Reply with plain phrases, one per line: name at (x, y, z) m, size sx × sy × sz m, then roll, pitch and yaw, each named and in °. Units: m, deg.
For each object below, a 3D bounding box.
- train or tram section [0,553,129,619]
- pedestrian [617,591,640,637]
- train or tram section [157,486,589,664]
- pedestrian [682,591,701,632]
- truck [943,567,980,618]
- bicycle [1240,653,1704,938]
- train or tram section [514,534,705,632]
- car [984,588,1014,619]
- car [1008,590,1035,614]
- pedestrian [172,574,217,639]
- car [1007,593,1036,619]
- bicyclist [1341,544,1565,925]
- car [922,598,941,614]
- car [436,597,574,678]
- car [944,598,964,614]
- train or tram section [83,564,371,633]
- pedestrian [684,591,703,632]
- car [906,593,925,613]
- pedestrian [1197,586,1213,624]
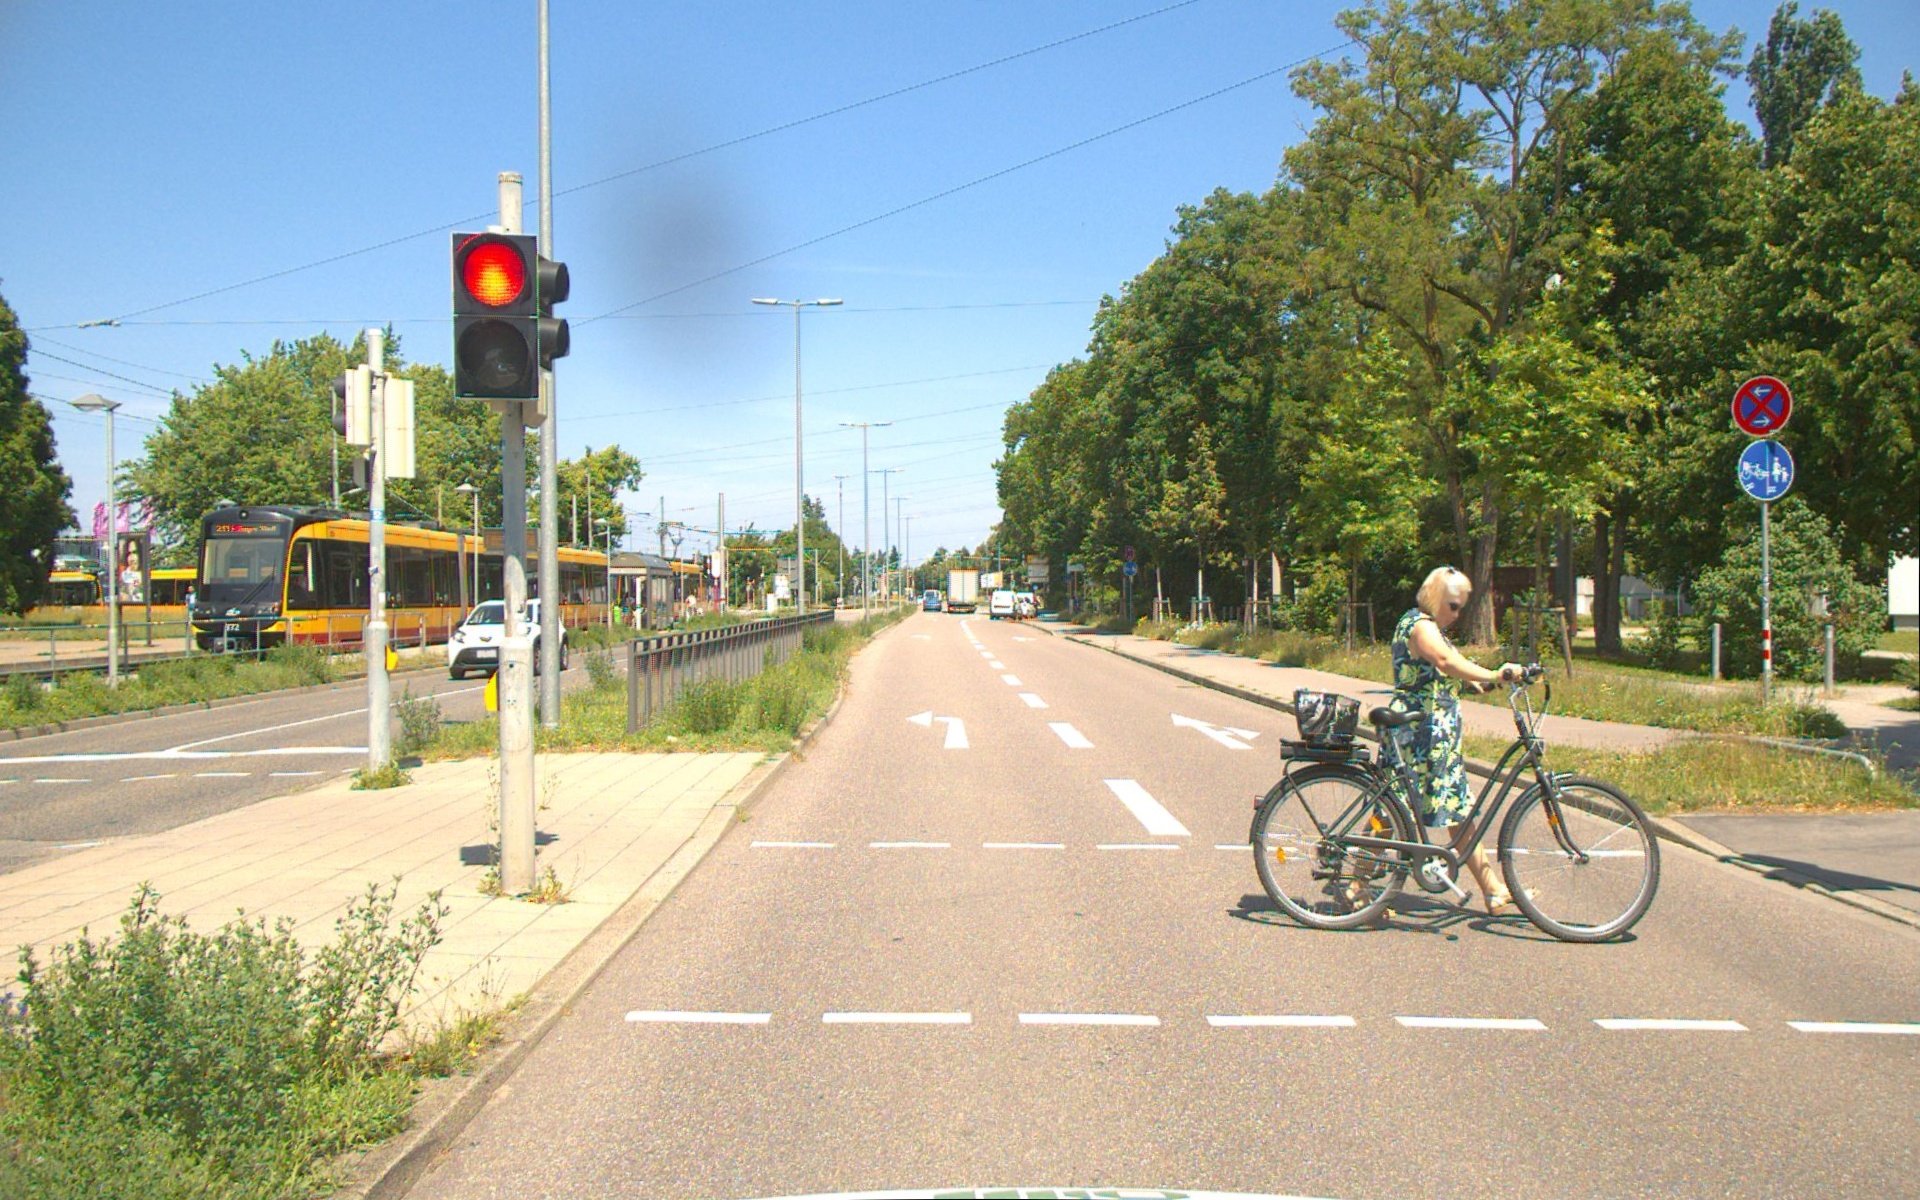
train or tram section at (-61.239, -0.818, 104.741) m, size 18.049 × 4.000 × 3.228 m, roll 0°, pitch 0°, yaw 16°
pedestrian at (-13.850, 0.590, 69.084) m, size 0.769 × 1.901 × 0.817 m, roll 0°, pitch 0°, yaw -1°
train or tram section at (-15.953, -0.596, 50.450) m, size 2.897 × 3.815 × 30.027 m, roll 0°, pitch 0°, yaw -1°
pedestrian at (-13.742, 0.587, 84.732) m, size 0.798 × 2.049 × 0.938 m, roll 0°, pitch 0°, yaw -1°
truck at (0.073, -0.651, 146.124) m, size 3.140 × 4.435 × 6.559 m, roll 0°, pitch 0°, yaw -1°
bicycle at (2.225, 0.834, 7.387) m, size 1.915 × 1.182 × 0.541 m, roll 0°, pitch -1°, yaw 10°
train or tram section at (-16.410, -0.742, 81.971) m, size 2.871 × 3.856 × 33.081 m, roll 0°, pitch 0°, yaw -1°
car at (2.455, 0.214, 105.552) m, size 1.743 × 1.937 × 3.999 m, roll 0°, pitch 0°, yaw -1°
car at (4.408, 0.111, 118.857) m, size 1.743 × 1.698 × 3.999 m, roll 0°, pitch 0°, yaw -1°
pedestrian at (-24.389, 0.195, 52.714) m, size 0.961 × 2.049 × 1.021 m, roll 0°, pitch 0°, yaw -1°
car at (4.183, 0.391, 112.505) m, size 1.743 × 1.698 × 3.999 m, roll 0°, pitch 0°, yaw -1°
bicyclist at (2.283, 0.603, 7.744) m, size 0.937 × 1.696 × 0.581 m, roll 0°, pitch -1°, yaw 10°
car at (-2.697, 0.531, 158.001) m, size 1.774 × 1.490 × 3.999 m, roll 0°, pitch 0°, yaw -1°
car at (-9.157, 0.715, 33.575) m, size 1.807 × 1.521 × 3.790 m, roll 0°, pitch 0°, yaw -1°
car at (-0.587, 0.553, 153.602) m, size 1.774 × 1.490 × 3.999 m, roll 0°, pitch 0°, yaw -1°
train or tram section at (-44.186, -0.060, 99.553) m, size 18.049 × 4.000 × 3.228 m, roll 0°, pitch 0°, yaw 16°
pedestrian at (-13.439, 0.586, 83.374) m, size 0.798 × 2.049 × 0.938 m, roll 0°, pitch 0°, yaw -1°
car at (-4.694, 0.321, 175.092) m, size 1.953 × 2.049 × 3.999 m, roll 0°, pitch 0°, yaw -1°
pedestrian at (9.350, 0.195, 63.164) m, size 0.591 × 1.463 × 0.556 m, roll 0°, pitch 0°, yaw 6°
